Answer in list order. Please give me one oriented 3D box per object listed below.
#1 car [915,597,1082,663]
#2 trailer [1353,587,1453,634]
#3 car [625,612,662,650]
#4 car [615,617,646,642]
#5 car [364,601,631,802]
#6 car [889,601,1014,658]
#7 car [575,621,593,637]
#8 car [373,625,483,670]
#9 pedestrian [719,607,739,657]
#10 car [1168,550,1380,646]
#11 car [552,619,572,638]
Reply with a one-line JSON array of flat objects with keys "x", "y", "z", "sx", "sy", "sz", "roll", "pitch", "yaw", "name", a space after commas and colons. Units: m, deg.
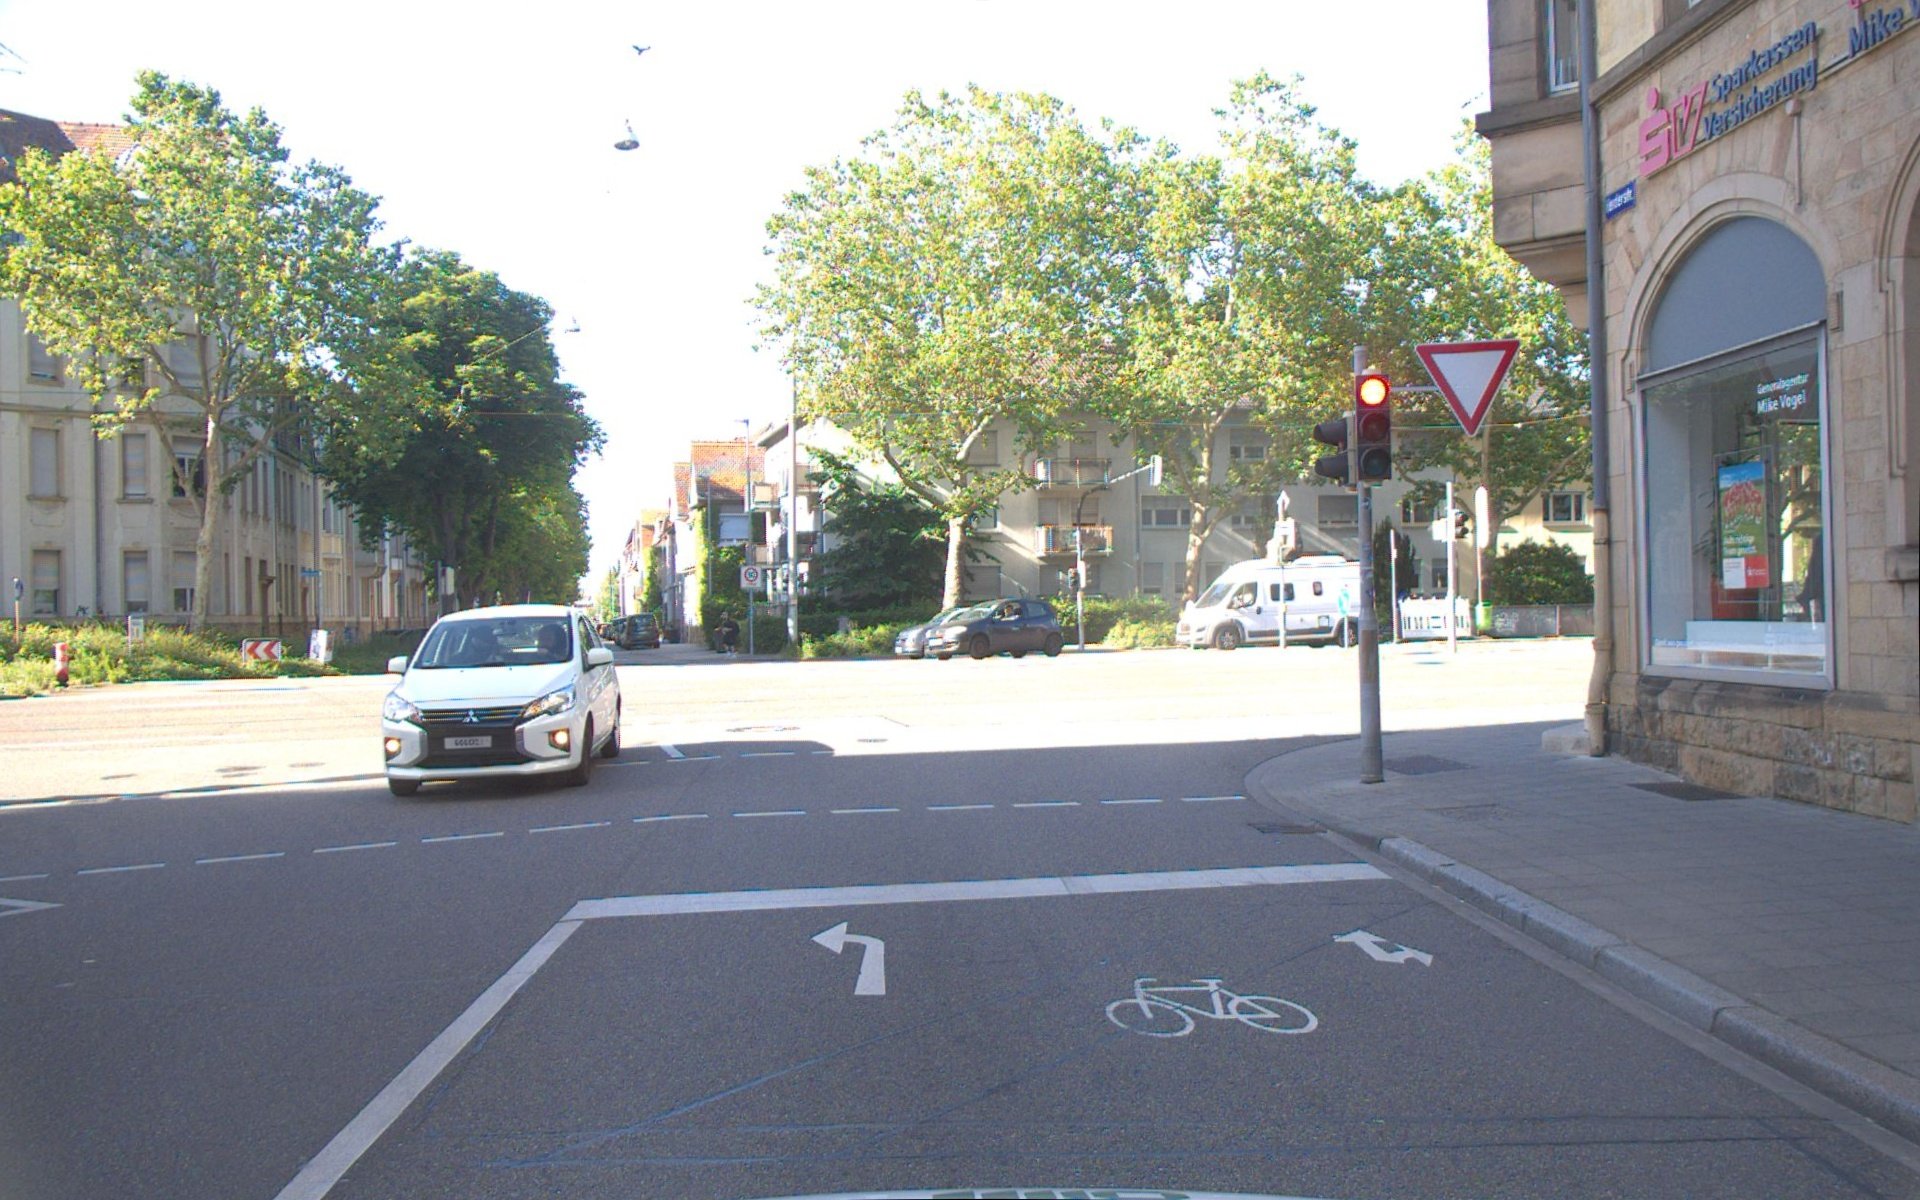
[{"x": 0.982, "y": 0.714, "z": 41.356, "sx": 3.949, "sy": 1.476, "sz": 1.640, "roll": -2, "pitch": 0, "yaw": -33, "name": "car"}, {"x": 13.470, "y": 0.313, "z": 50.336, "sx": 2.699, "sy": 1.334, "sz": 1.263, "roll": -2, "pitch": 0, "yaw": -20, "name": "trailer"}, {"x": -18.083, "y": 1.763, "z": 94.529, "sx": 1.957, "sy": 2.049, "sz": 3.990, "roll": -2, "pitch": 0, "yaw": -10, "name": "car"}, {"x": -24.942, "y": 2.246, "z": 124.988, "sx": 1.961, "sy": 1.865, "sz": 3.982, "roll": 0, "pitch": -1, "yaw": -16, "name": "car"}, {"x": -3.960, "y": 0.785, "z": 14.719, "sx": 1.593, "sy": 1.498, "sz": 3.795, "roll": -2, "pitch": 0, "yaw": -5, "name": "car"}, {"x": -0.240, "y": 0.838, "z": 48.455, "sx": 3.333, "sy": 1.513, "sz": 1.514, "roll": -2, "pitch": 0, "yaw": -23, "name": "car"}, {"x": -37.575, "y": 2.883, "z": 165.469, "sx": 1.644, "sy": 1.509, "sz": 3.512, "roll": 0, "pitch": -1, "yaw": -11, "name": "car"}, {"x": -20.406, "y": 1.802, "z": 63.508, "sx": 3.928, "sy": 1.512, "sz": 1.672, "roll": -2, "pitch": 0, "yaw": -20, "name": "car"}, {"x": -8.381, "y": 1.163, "z": 59.954, "sx": 0.623, "sy": 1.780, "sz": 0.656, "roll": 0, "pitch": -1, "yaw": -17, "name": "pedestrian"}, {"x": 9.297, "y": -0.084, "z": 48.971, "sx": 5.949, "sy": 2.613, "sz": 1.989, "roll": -2, "pitch": 0, "yaw": -19, "name": "car"}, {"x": -35.665, "y": 2.530, "z": 148.332, "sx": 1.519, "sy": 1.661, "sz": 3.225, "roll": -2, "pitch": 0, "yaw": -11, "name": "car"}]
